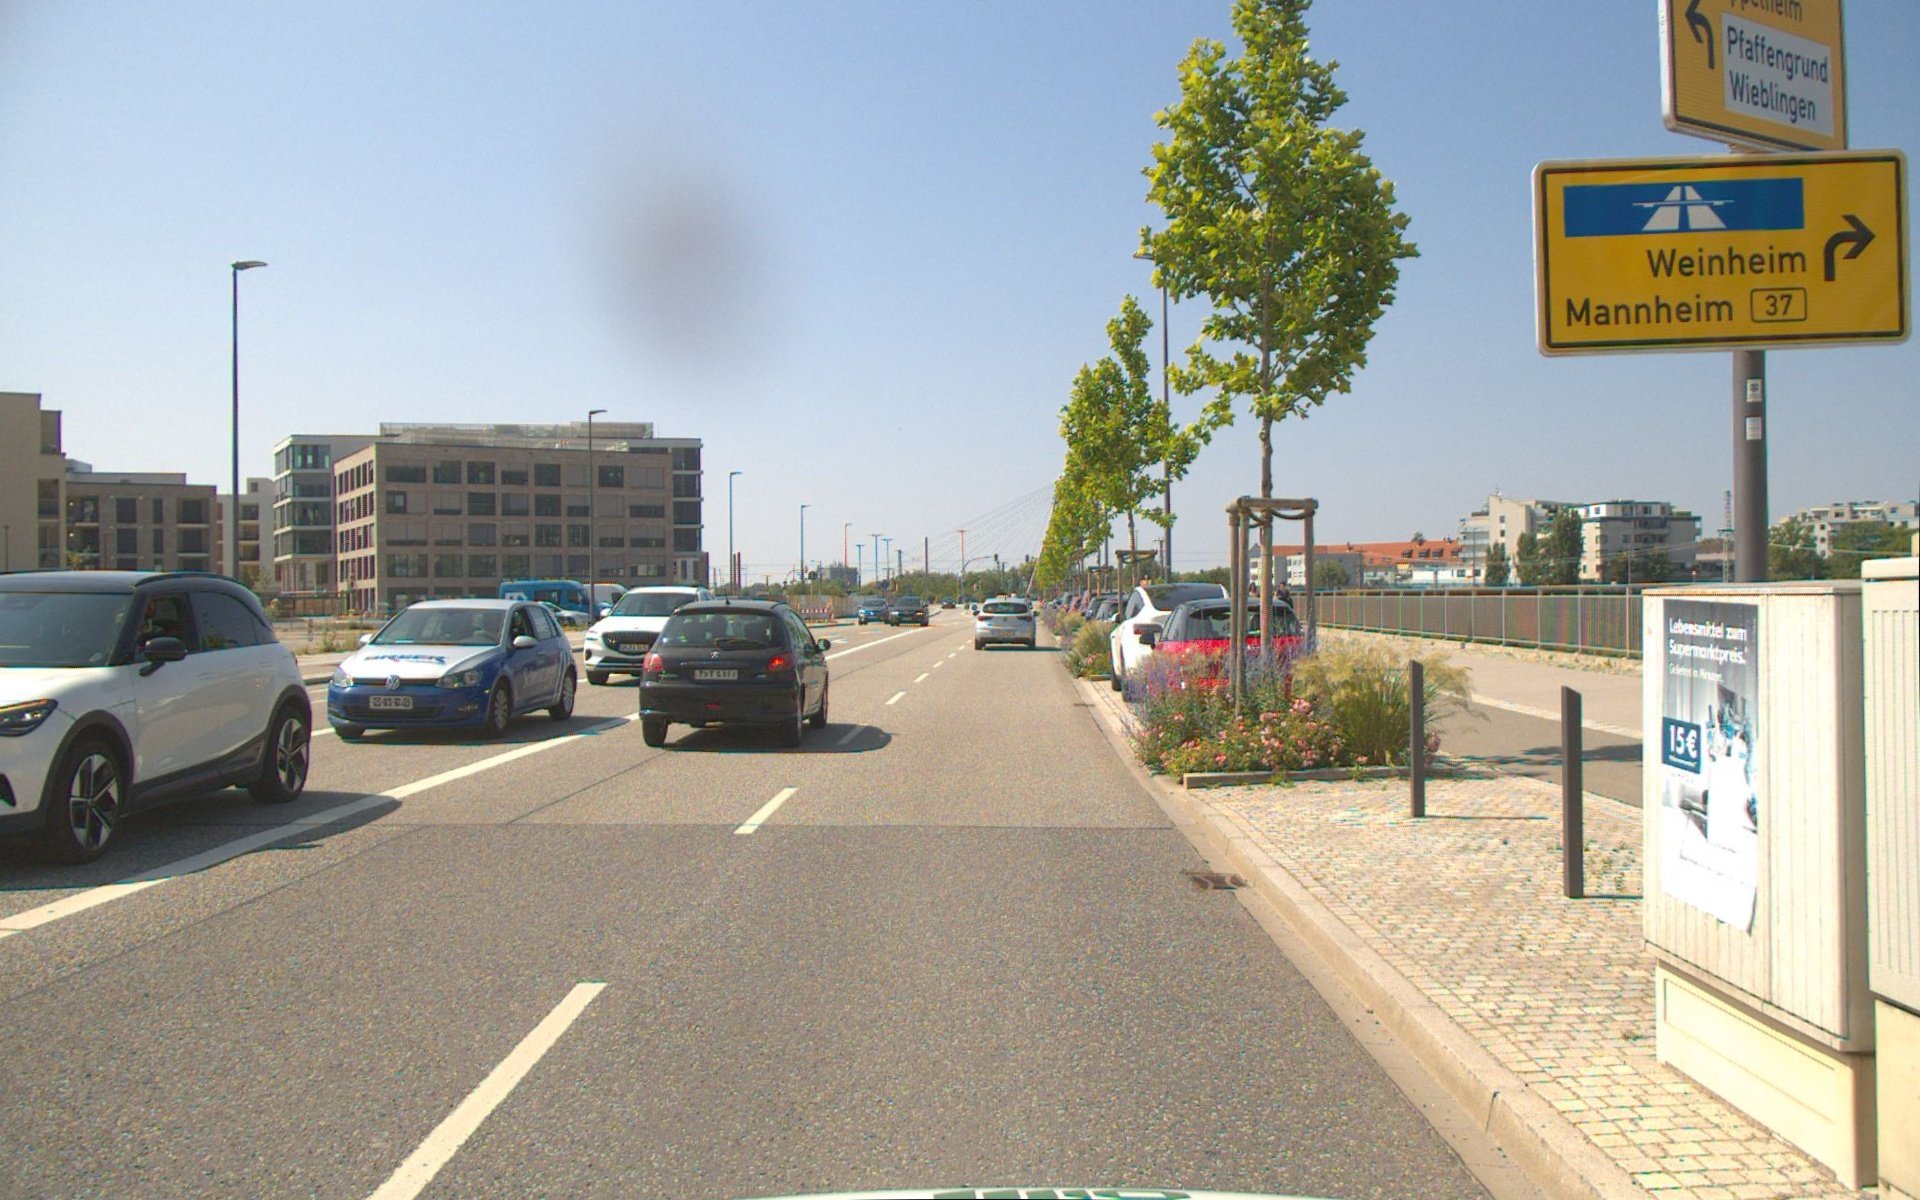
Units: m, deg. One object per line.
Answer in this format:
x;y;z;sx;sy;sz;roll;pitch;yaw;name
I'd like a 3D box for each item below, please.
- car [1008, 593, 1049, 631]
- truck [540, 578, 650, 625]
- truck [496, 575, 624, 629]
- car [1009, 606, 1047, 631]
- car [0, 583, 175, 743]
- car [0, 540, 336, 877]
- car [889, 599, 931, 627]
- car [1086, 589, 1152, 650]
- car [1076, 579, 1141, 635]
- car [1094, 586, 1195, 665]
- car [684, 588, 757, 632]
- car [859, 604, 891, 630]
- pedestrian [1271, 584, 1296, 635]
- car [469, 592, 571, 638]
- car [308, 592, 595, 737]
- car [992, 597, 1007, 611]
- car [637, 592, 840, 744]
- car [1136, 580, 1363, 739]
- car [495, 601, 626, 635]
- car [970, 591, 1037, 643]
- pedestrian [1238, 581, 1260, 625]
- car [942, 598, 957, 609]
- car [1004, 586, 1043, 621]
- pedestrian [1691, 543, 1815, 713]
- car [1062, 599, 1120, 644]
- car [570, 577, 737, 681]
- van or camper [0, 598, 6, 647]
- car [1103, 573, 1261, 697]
3.277;0.588;79.843;1.756;1.780;3.999;1;-1;0;car
-20.056;0.075;91.031;5.452;2.404;2.275;-1;0;1;truck
-20.244;0.096;83.843;5.882;2.588;2.274;1;-1;-1;truck
3.794;1.044;92.893;1.601;1.333;3.994;1;-1;-6;car
-11.357;0.678;19.789;1.952;1.736;4.000;1;0;1;car
-5.621;0.527;10.481;1.742;1.711;4.099;1;0;0;car
-2.534;0.681;84.866;1.750;1.422;4.573;1;-1;4;car
4.148;0.473;43.532;1.586;1.505;3.826;-1;0;3;car
4.610;0.195;51.896;1.868;1.645;4.550;-1;0;3;car
3.785;0.479;34.582;1.868;1.505;4.160;-1;0;3;car
-8.332;0.377;57.783;1.854;1.440;3.599;1;-2;2;car
-5.011;1.024;98.202;1.757;1.441;3.998;1;-2;-1;car
11.067;0.331;56.598;0.716;1.735;0.651;1;-2;3;pedestrian
-19.454;0.667;73.229;3.902;1.937;1.829;-1;0;10;car
-5.564;0.642;18.684;1.749;1.446;4.283;0;0;2;car
5.118;0.496;212.809;1.816;1.678;4.001;1;0;2;car
-2.265;0.680;17.783;1.586;1.441;3.727;1;-1;1;car
3.056;0.584;18.261;1.952;1.545;4.001;0;0;2;car
-18.602;0.831;77.158;5.535;1.500;2.107;1;-1;0;car
1.313;0.489;48.301;1.740;1.467;4.002;0;0;4;car
11.519;0.125;65.833;0.764;1.735;0.742;1;-1;3;pedestrian
-1.345;0.418;216.232;1.668;1.376;4.457;-1;-1;2;car
3.081;0.194;79.470;1.741;1.596;4.001;1;-2;4;car
8.039;0.280;16.808;0.735;1.637;0.949;-3;0;2;pedestrian
4.661;0.754;59.107;1.571;1.518;3.816;-2;0;-2;car
-5.325;0.488;29.355;1.873;1.678;4.732;1;0;2;car
-54.094;1.271;87.697;5.870;2.603;1.909;-1;0;-39;van or camper
3.230;0.510;24.948;1.833;1.656;4.877;1;-1;1;car
